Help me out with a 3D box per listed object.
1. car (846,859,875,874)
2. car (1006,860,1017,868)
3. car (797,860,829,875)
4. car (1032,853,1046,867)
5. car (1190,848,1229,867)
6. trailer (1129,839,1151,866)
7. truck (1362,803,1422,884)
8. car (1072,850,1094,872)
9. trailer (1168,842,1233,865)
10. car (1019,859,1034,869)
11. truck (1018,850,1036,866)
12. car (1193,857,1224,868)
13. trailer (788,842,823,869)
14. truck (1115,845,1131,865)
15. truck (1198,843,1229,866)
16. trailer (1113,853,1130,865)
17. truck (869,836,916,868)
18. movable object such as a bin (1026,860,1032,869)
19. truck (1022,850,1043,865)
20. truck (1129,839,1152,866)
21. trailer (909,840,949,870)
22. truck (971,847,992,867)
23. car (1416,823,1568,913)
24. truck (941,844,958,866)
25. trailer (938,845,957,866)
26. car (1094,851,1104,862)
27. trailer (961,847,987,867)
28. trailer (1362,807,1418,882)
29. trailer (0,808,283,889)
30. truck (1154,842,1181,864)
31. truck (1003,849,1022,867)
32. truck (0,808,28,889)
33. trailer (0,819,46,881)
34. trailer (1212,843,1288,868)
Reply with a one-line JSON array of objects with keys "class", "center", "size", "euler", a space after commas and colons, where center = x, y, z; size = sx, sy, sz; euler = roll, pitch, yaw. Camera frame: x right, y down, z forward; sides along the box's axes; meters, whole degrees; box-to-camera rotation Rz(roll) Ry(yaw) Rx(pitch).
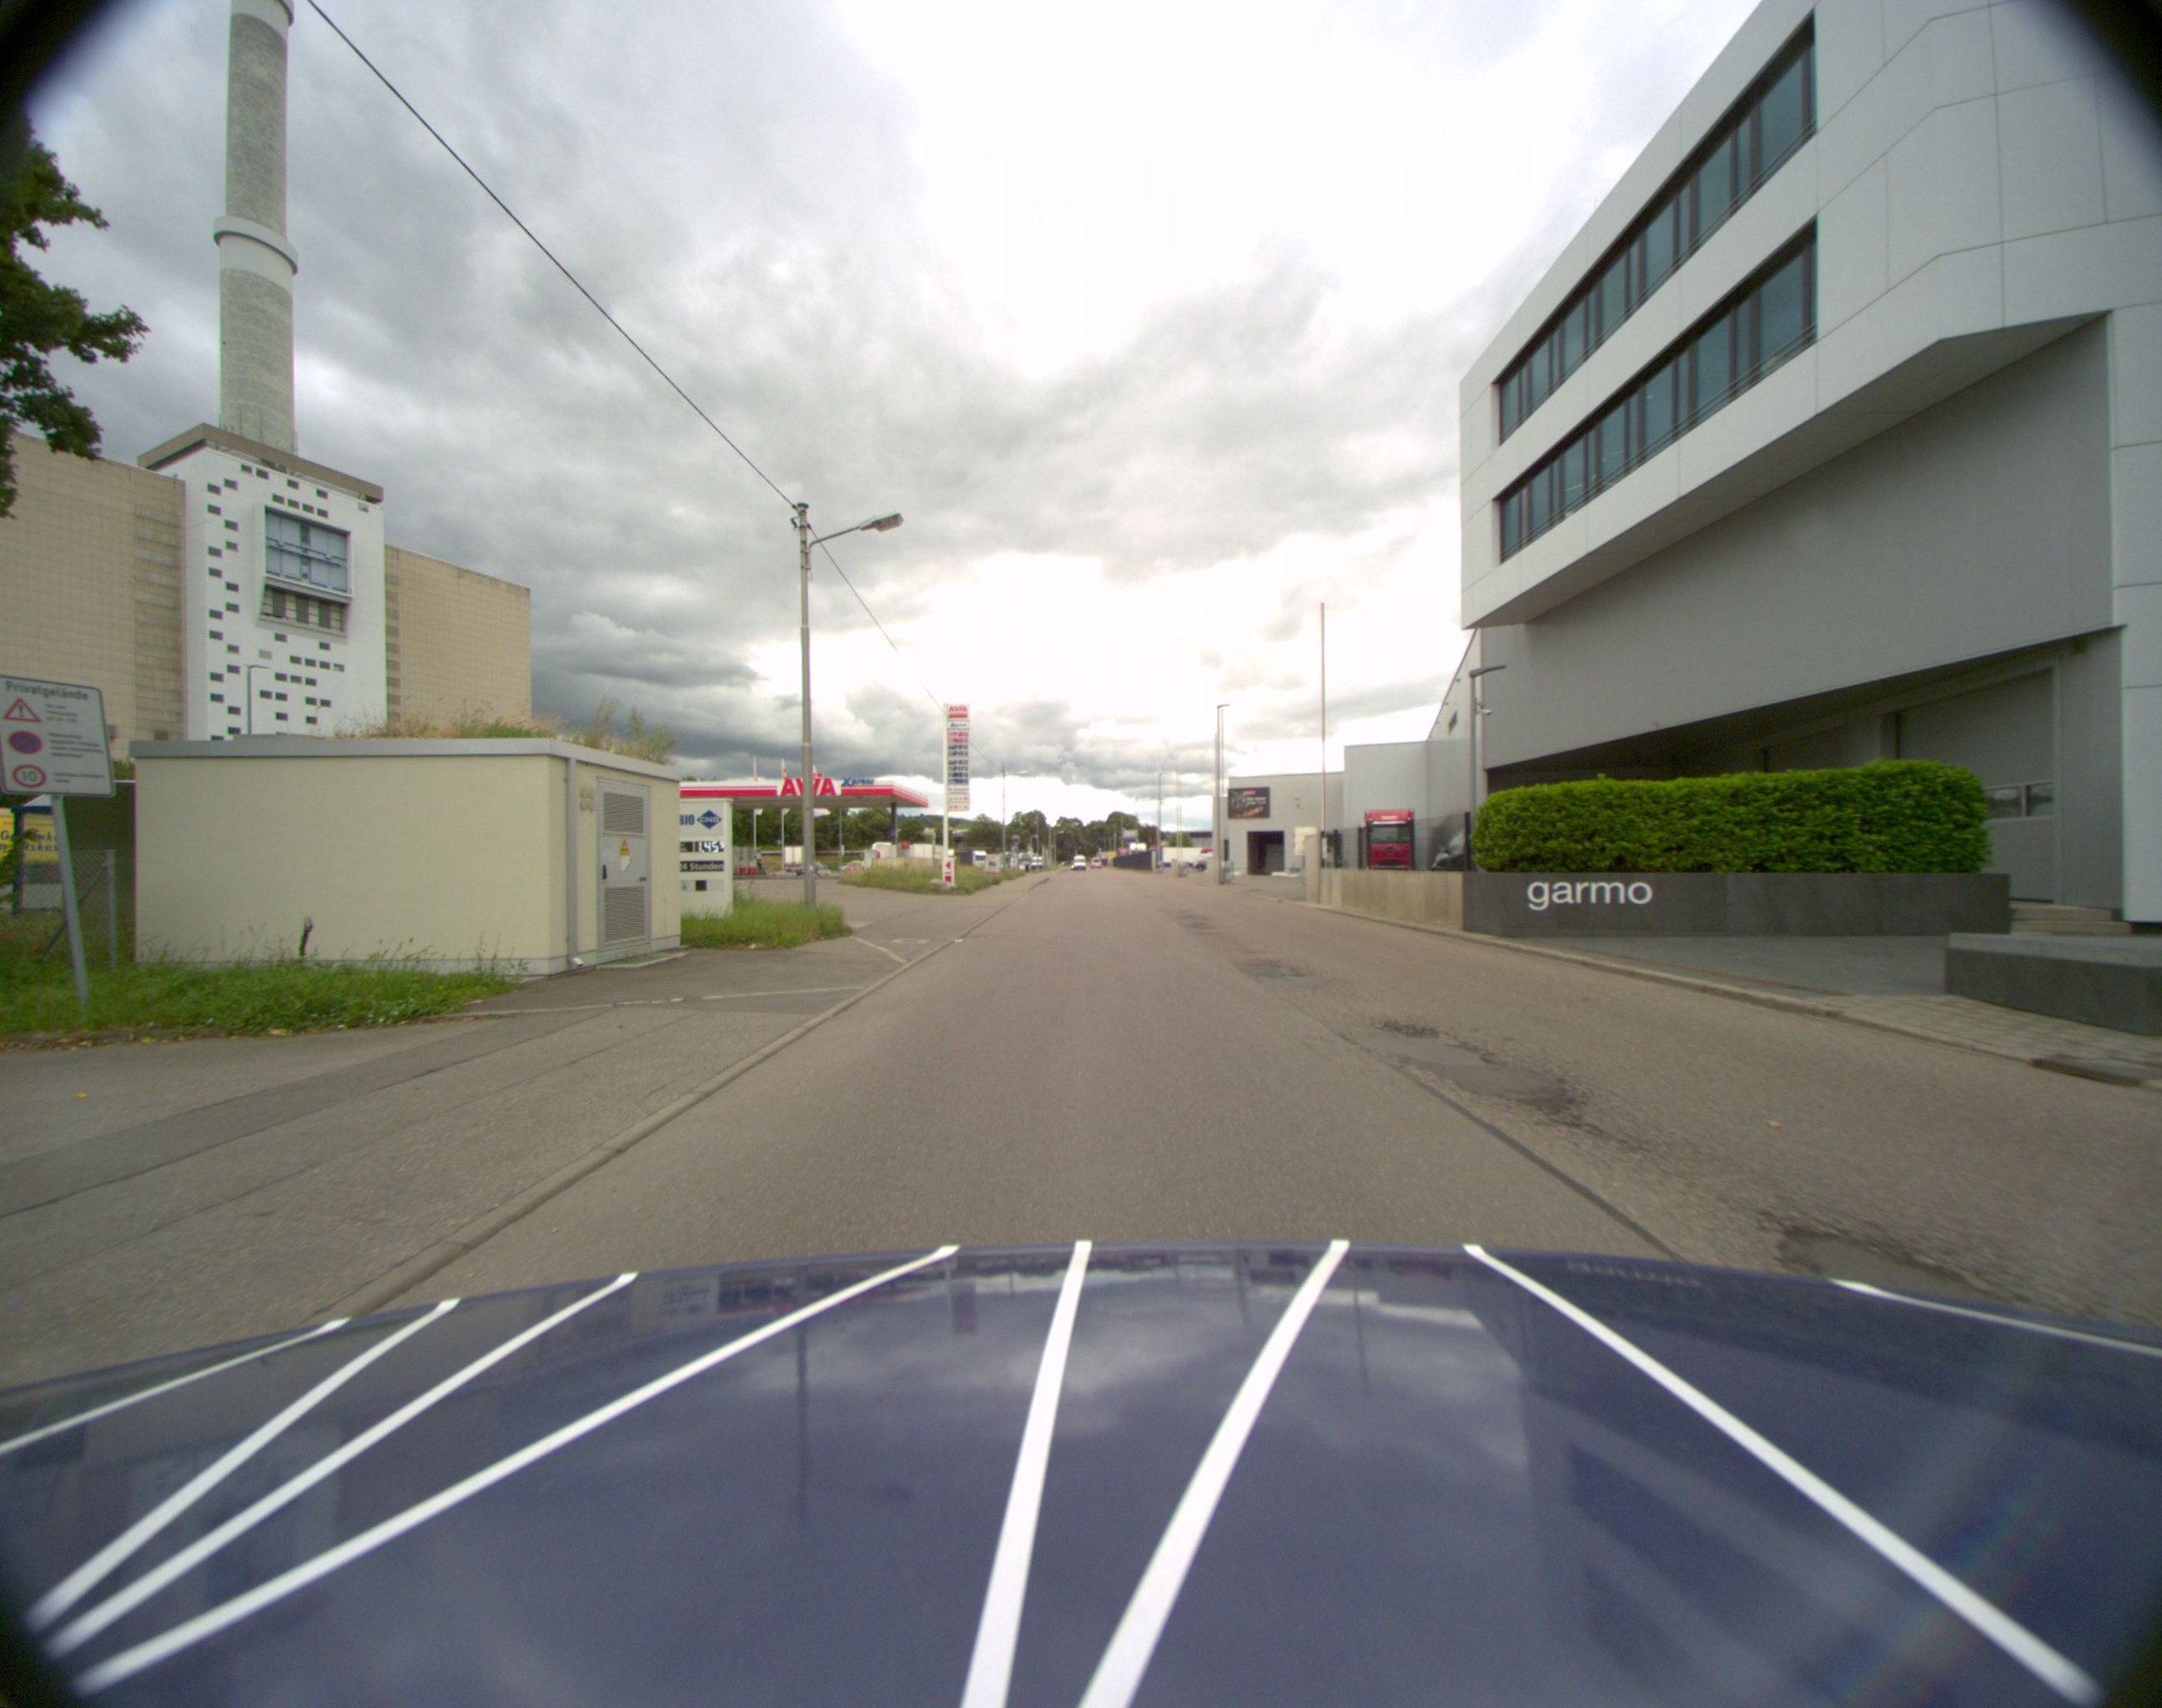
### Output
[{"class": "car", "center": [-22.712, 1.260, 78.324], "size": [1.769, 1.561, 4.215], "euler": [1, 0, -1]}, {"class": "car", "center": [-12.953, 1.867, 141.189], "size": [1.497, 1.486, 4.053], "euler": [-1, 0, 2]}, {"class": "car", "center": [-27.466, 1.358, 78.074], "size": [1.769, 1.382, 4.215], "euler": [1, 0, -1]}, {"class": "car", "center": [-7.689, 1.077, 140.954], "size": [2.091, 2.401, 6.084], "euler": [-1, 0, 2]}, {"class": "car", "center": [19.496, 0.561, 114.822], "size": [5.423, 2.714, 2.245], "euler": [-2, -1, 19]}, {"class": "trailer", "center": [9.689, -0.180, 125.617], "size": [3.366, 4.135, 13.853], "euler": [1, 0, 4]}, {"class": "truck", "center": [16.974, -0.490, 41.762], "size": [2.745, 4.007, 7.104], "euler": [-1, 0, 21]}, {"class": "car", "center": [0.263, 1.199, 129.987], "size": [3.339, 3.586, 8.668], "euler": [0, 0, -3]}, {"class": "trailer", "center": [23.219, -0.108, 147.418], "size": [12.020, 4.108, 3.053], "euler": [1, 0, 19]}, {"class": "car", "center": [-7.808, 1.456, 109.593], "size": [1.778, 1.455, 4.560], "euler": [-1, 0, 0]}, {"class": "truck", "center": [-12.151, 0.860, 171.312], "size": [2.876, 3.608, 6.748], "euler": [1, -1, -15]}, {"class": "car", "center": [18.504, 1.250, 110.046], "size": [4.072, 1.567, 1.947], "euler": [-2, -1, 21]}, {"class": "trailer", "center": [-43.341, 0.307, 119.826], "size": [3.644, 3.887, 13.722], "euler": [0, -1, -14]}, {"class": "truck", "center": [8.480, 0.212, 154.598], "size": [3.021, 3.826, 5.670], "euler": [1, 0, 0]}, {"class": "truck", "center": [24.693, 0.105, 141.531], "size": [4.870, 4.180, 3.053], "euler": [1, 0, 22]}, {"class": "trailer", "center": [8.530, 1.050, 160.261], "size": [3.046, 2.179, 12.048], "euler": [1, 0, 0]}, {"class": "truck", "center": [-25.549, -0.233, 103.999], "size": [3.082, 3.944, 13.069], "euler": [1, 0, 0]}, {"class": "movable object such as a bin", "center": [-6.339, 1.325, 92.409], "size": [0.716, 1.075, 0.662], "euler": [0, 0, -6]}, {"class": "truck", "center": [-12.041, 0.893, 188.067], "size": [2.832, 3.689, 9.090], "euler": [-1, 0, -18]}, {"class": "truck", "center": [9.223, -0.206, 118.632], "size": [3.366, 4.136, 5.629], "euler": [1, 0, 4]}, {"class": "trailer", "center": [-21.510, 0.138, 108.272], "size": [2.964, 3.944, 10.408], "euler": [1, 0, 3]}, {"class": "truck", "center": [-20.751, 0.656, 157.868], "size": [2.877, 4.070, 6.745], "euler": [1, -1, -20]}, {"class": "car", "center": [8.952, 0.290, 16.847], "size": [1.654, 1.751, 3.179], "euler": [-2, 0, 2]}, {"class": "truck", "center": [-25.466, 0.272, 146.947], "size": [2.876, 4.070, 6.749], "euler": [1, -1, -14]}, {"class": "trailer", "center": [-26.974, 0.330, 152.889], "size": [2.841, 4.070, 13.381], "euler": [1, -1, -14]}, {"class": "car", "center": [4.050, 0.553, 171.386], "size": [1.998, 2.401, 5.258], "euler": [-2, -1, 2]}, {"class": "trailer", "center": [-23.204, 0.714, 164.678], "size": [2.843, 4.070, 13.374], "euler": [1, -1, -20]}, {"class": "trailer", "center": [19.116, -0.481, 47.457], "size": [2.745, 4.007, 12.637], "euler": [-1, -1, 21]}, {"class": "trailer", "center": [-57.638, -0.265, 45.639], "size": [3.028, 4.235, 15.724], "euler": [0, 0, -1]}, {"class": "truck", "center": [16.871, -0.241, 148.794], "size": [4.878, 4.108, 3.048], "euler": [1, 0, 1]}, {"class": "truck", "center": [-15.112, 0.871, 167.116], "size": [2.876, 3.990, 6.748], "euler": [1, -1, -15]}, {"class": "truck", "center": [-57.545, -0.290, 37.377], "size": [3.052, 4.237, 6.040], "euler": [0, 0, -1]}, {"class": "trailer", "center": [-69.595, -0.281, 43.290], "size": [2.697, 3.892, 13.688], "euler": [0, 0, -1]}, {"class": "trailer", "center": [30.881, 0.228, 138.988], "size": [13.158, 4.188, 3.053], "euler": [1, 0, 22]}]
